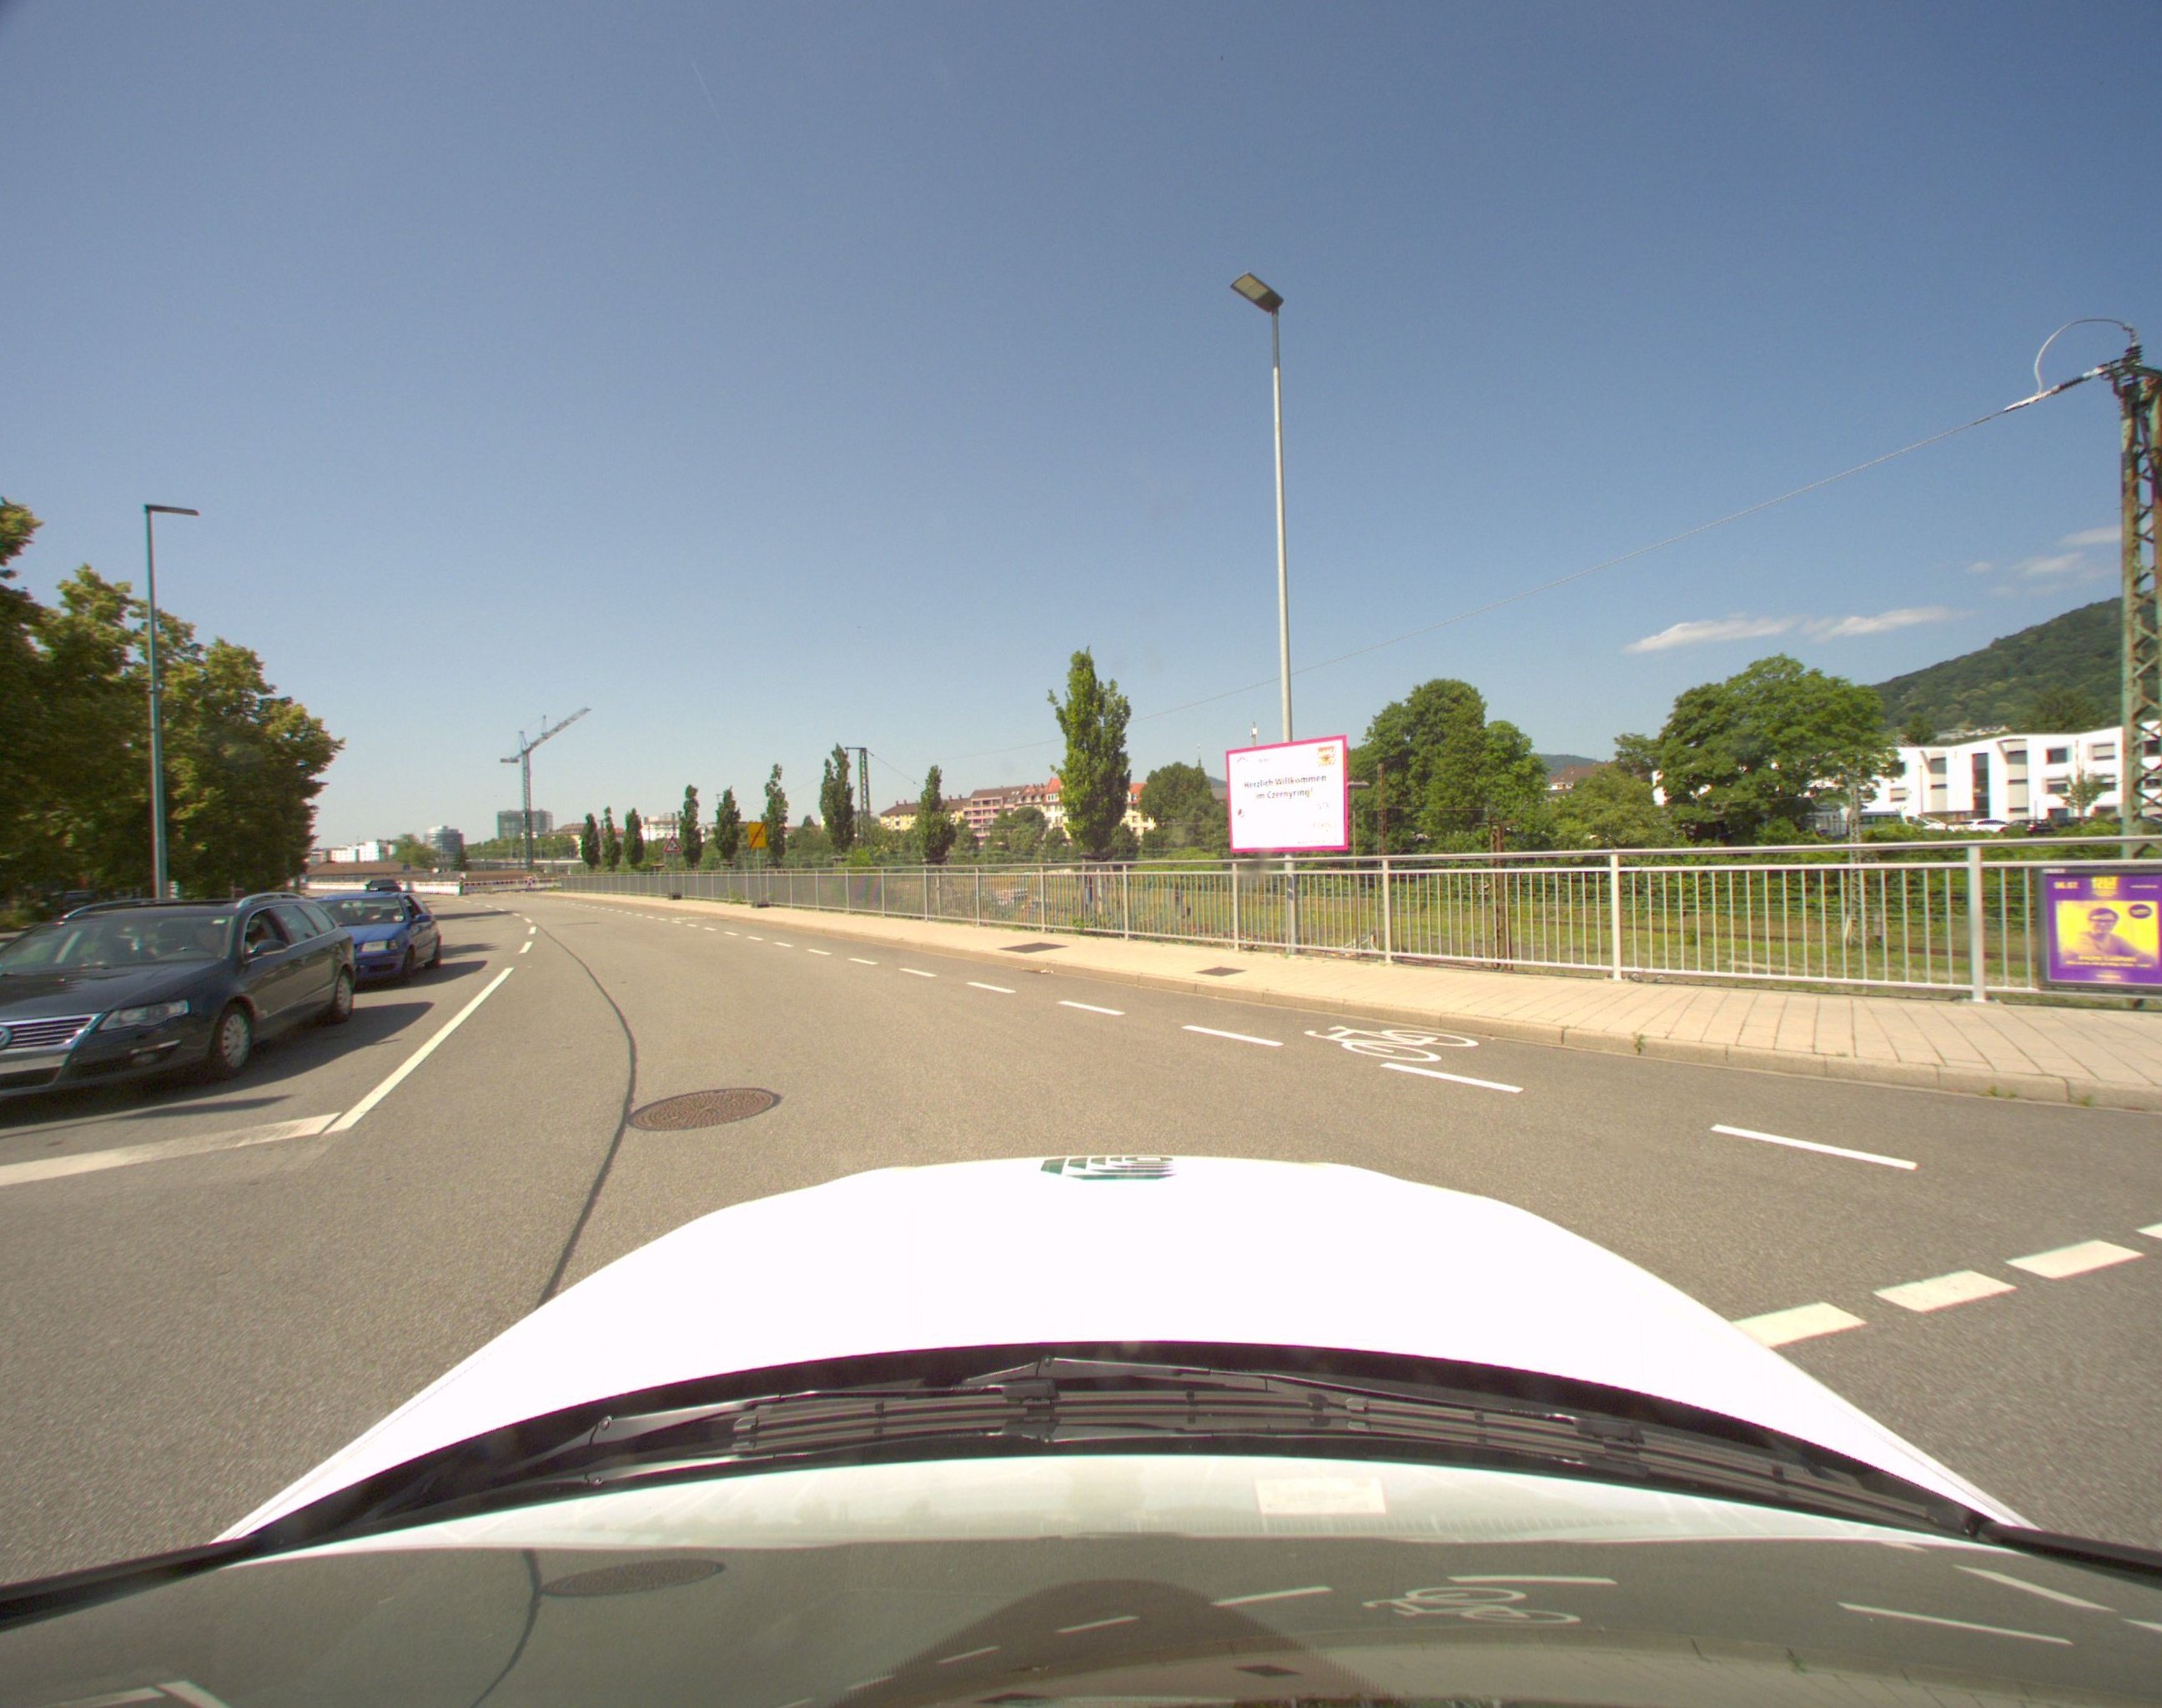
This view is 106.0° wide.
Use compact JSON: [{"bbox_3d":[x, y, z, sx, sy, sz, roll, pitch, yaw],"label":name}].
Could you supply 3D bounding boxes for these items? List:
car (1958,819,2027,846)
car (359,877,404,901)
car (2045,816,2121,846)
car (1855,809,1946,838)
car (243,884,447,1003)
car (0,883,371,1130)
[{"bbox_3d":[73.627,-1.721,65.805,4.466,2.013,1.989,-2,0,-17],"label":"car"},{"bbox_3d":[-54.134,2.709,63.011,4.554,1.695,1.969,-2,1,41],"label":"car"},{"bbox_3d":[74.024,-1.677,60.195,4.466,2.013,1.989,-2,0,-17],"label":"car"},{"bbox_3d":[66.781,-2.481,66.459,2.008,2.112,4.939,-3,1,-33],"label":"car"},{"bbox_3d":[-11.269,1.251,12.761,1.667,1.381,3.959,-3,1,-32],"label":"car"},{"bbox_3d":[-8.381,1.119,7.473,1.790,1.496,4.678,-2,1,-29],"label":"car"}]
